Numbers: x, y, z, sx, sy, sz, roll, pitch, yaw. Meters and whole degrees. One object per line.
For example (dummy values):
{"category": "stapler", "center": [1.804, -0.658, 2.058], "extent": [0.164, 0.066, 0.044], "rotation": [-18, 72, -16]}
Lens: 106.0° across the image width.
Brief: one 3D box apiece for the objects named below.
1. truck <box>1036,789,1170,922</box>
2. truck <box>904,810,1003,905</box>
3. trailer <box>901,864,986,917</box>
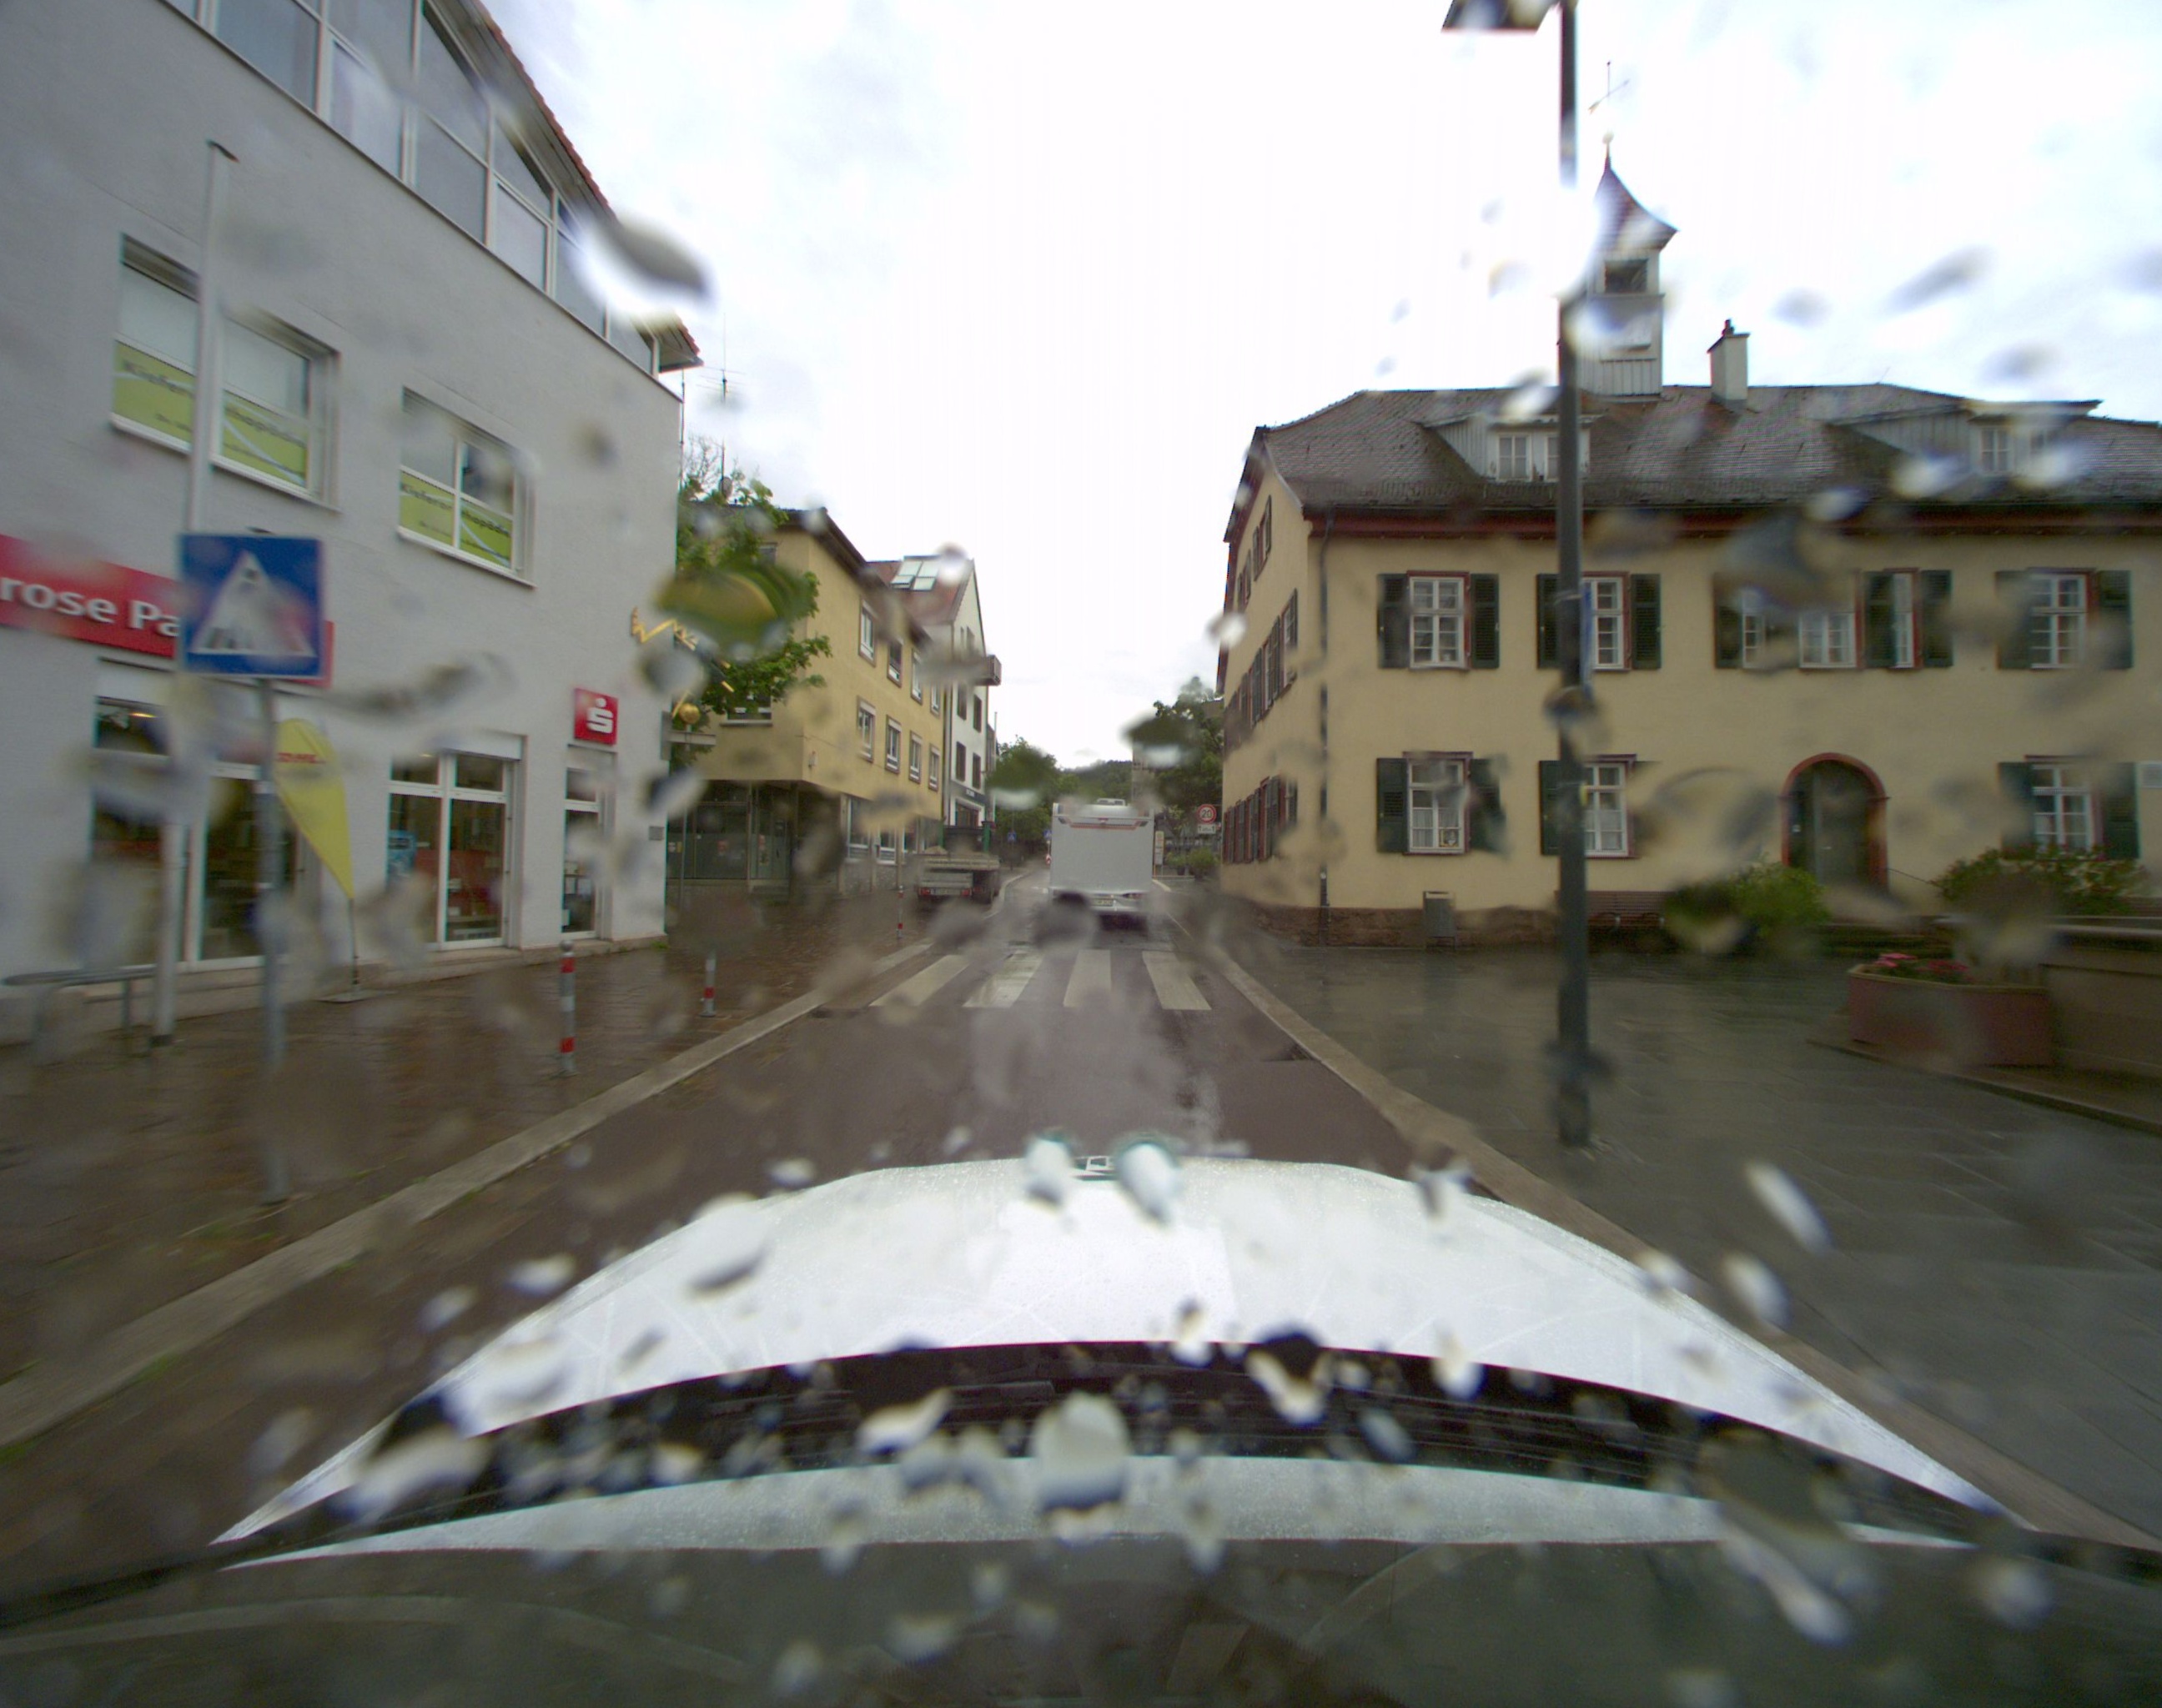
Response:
{"category": "truck", "center": [0.650, 0.076, 20.271], "extent": [2.794, 2.797, 6.112], "rotation": [-1, -1, 3]}
{"category": "truck", "center": [-3.830, 0.009, 25.703], "extent": [2.394, 2.594, 6.477], "rotation": [1, 2, -3]}
{"category": "trailer", "center": [-3.455, 0.903, 20.991], "extent": [1.848, 1.124, 3.016], "rotation": [1, 2, -4]}
